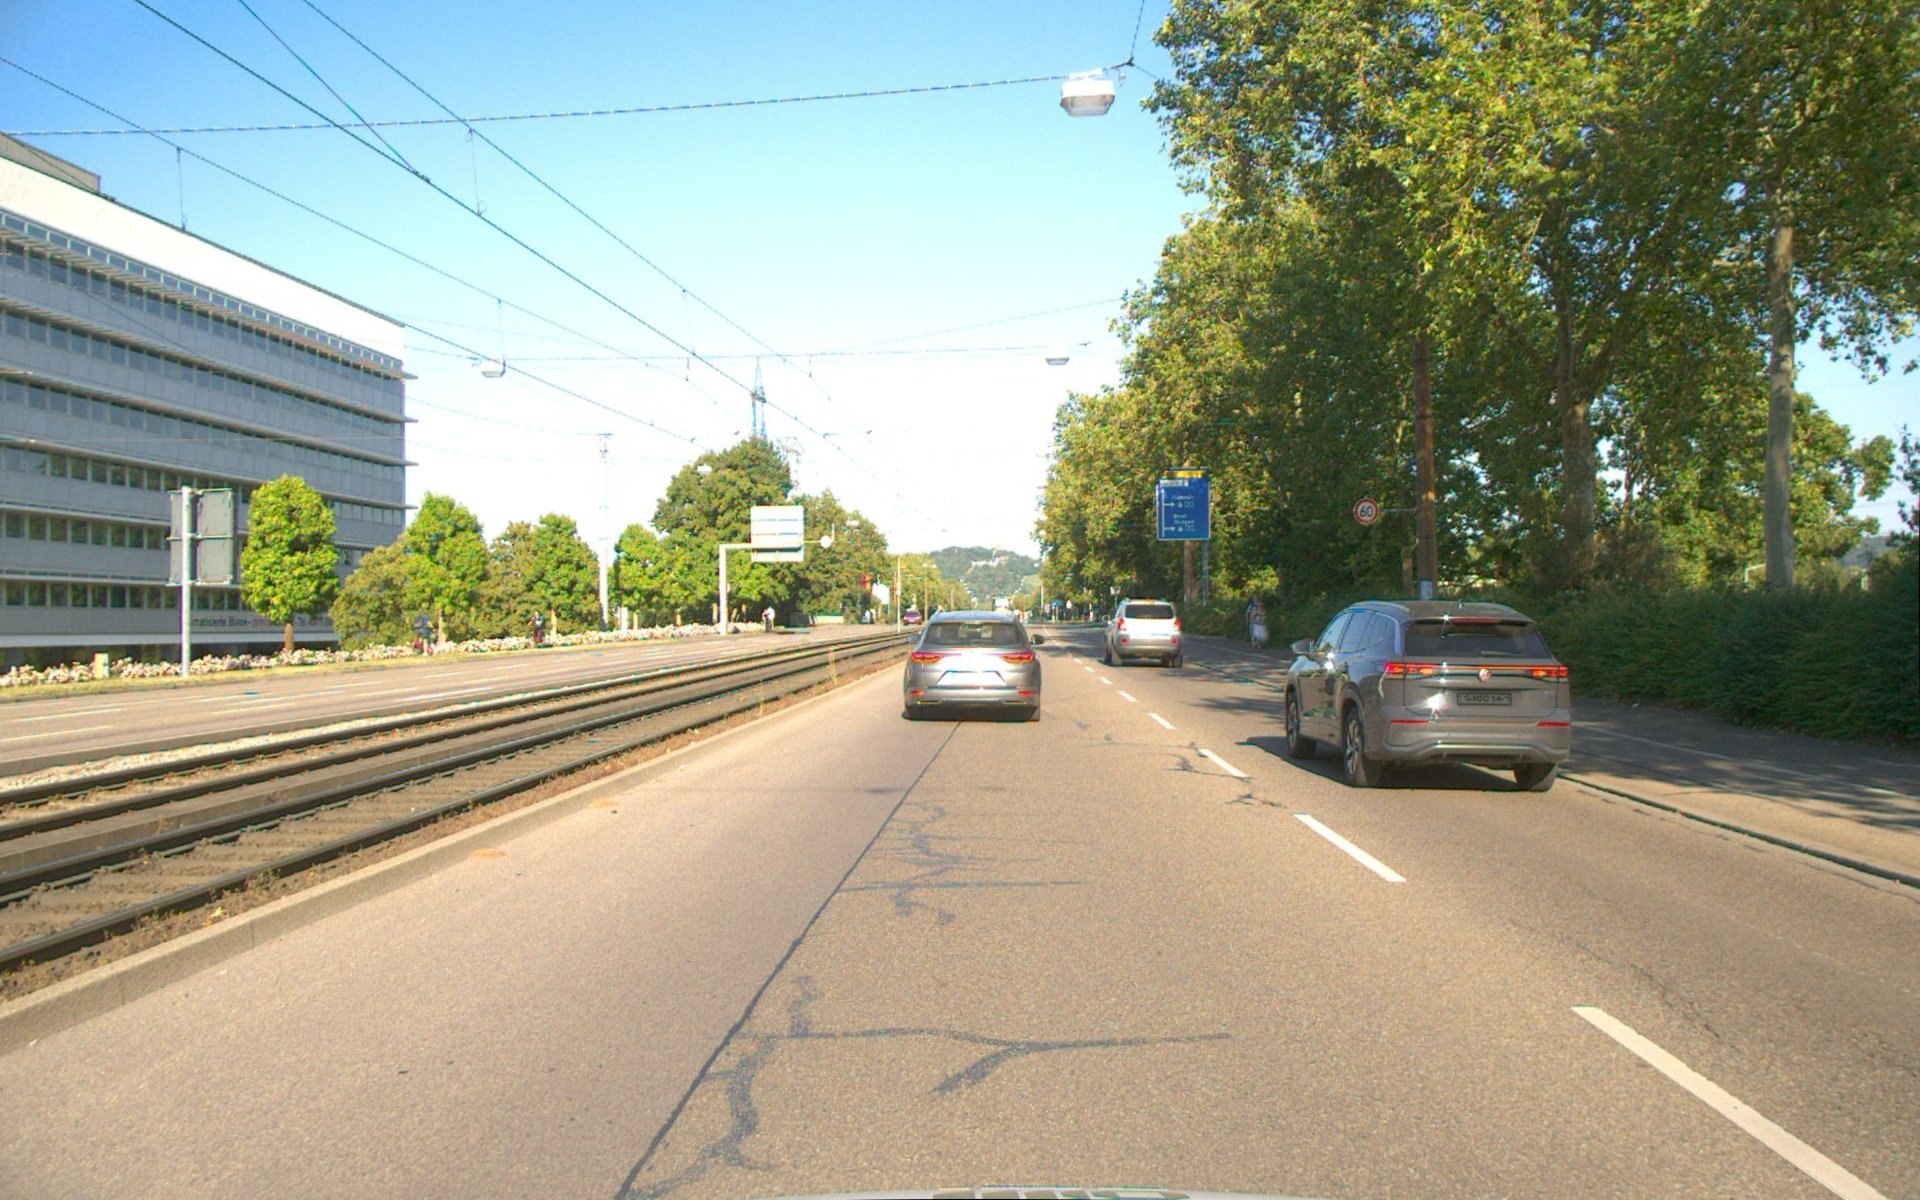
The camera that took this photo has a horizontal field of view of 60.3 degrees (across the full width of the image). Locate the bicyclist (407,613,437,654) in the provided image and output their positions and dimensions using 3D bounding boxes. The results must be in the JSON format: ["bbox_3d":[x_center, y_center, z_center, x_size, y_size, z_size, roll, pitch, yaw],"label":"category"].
[{"bbox_3d":[-20.823,1.278,64.052,0.690,1.539,0.971,2,0,9],"label":"bicyclist"}]

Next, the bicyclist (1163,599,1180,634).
[{"bbox_3d":[9.228,0.731,72.318,0.671,1.535,0.891,0,0,2],"label":"bicyclist"}]

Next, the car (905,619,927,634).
[{"bbox_3d":[-4.857,2.906,182.227,1.997,1.529,4.889,-1,0,3],"label":"car"}]

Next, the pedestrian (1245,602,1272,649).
[{"bbox_3d":[9.704,0.820,53.792,0.708,1.506,0.722,-1,-1,2],"label":"pedestrian"}]

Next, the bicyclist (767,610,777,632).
[{"bbox_3d":[-14.784,1.638,130.089,0.590,1.688,0.963,2,0,5],"label":"bicyclist"}]

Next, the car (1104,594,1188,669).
[{"bbox_3d":[4.855,0.789,43.626,1.844,1.827,4.001,2,0,2],"label":"car"}]

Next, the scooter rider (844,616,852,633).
[{"bbox_3d":[-12.177,2.640,179.518,0.667,1.881,1.001,-1,-1,10],"label":"scooter rider"}]

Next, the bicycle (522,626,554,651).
[{"bbox_3d":[-20.217,1.829,79.248,0.647,1.171,2.023,2,0,12],"label":"bicycle"}]

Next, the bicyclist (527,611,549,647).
[{"bbox_3d":[-20.212,1.382,79.215,0.647,1.652,0.802,2,0,12],"label":"bicyclist"}]

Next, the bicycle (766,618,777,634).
[{"bbox_3d":[-14.801,2.041,130.026,0.590,1.240,1.749,2,0,3],"label":"bicycle"}]

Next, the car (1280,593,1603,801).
[{"bbox_3d":[4.398,0.799,15.848,1.806,1.690,4.439,1,0,0],"label":"car"}]

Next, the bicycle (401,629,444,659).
[{"bbox_3d":[-20.815,1.681,64.115,0.690,1.092,2.029,2,0,9],"label":"bicycle"}]

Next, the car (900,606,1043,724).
[{"bbox_3d":[0.262,0.835,23.359,1.827,1.493,4.667,0,0,3],"label":"car"}]

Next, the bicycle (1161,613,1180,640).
[{"bbox_3d":[9.214,1.159,72.463,0.609,1.140,1.813,-1,0,2],"label":"bicycle"}]

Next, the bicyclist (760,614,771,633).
[{"bbox_3d":[-14.715,1.804,125.186,0.612,1.398,0.880,2,0,2],"label":"bicyclist"}]

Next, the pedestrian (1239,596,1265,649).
[{"bbox_3d":[9.740,0.734,55.220,0.707,1.737,0.813,-1,-1,2],"label":"pedestrian"}]
